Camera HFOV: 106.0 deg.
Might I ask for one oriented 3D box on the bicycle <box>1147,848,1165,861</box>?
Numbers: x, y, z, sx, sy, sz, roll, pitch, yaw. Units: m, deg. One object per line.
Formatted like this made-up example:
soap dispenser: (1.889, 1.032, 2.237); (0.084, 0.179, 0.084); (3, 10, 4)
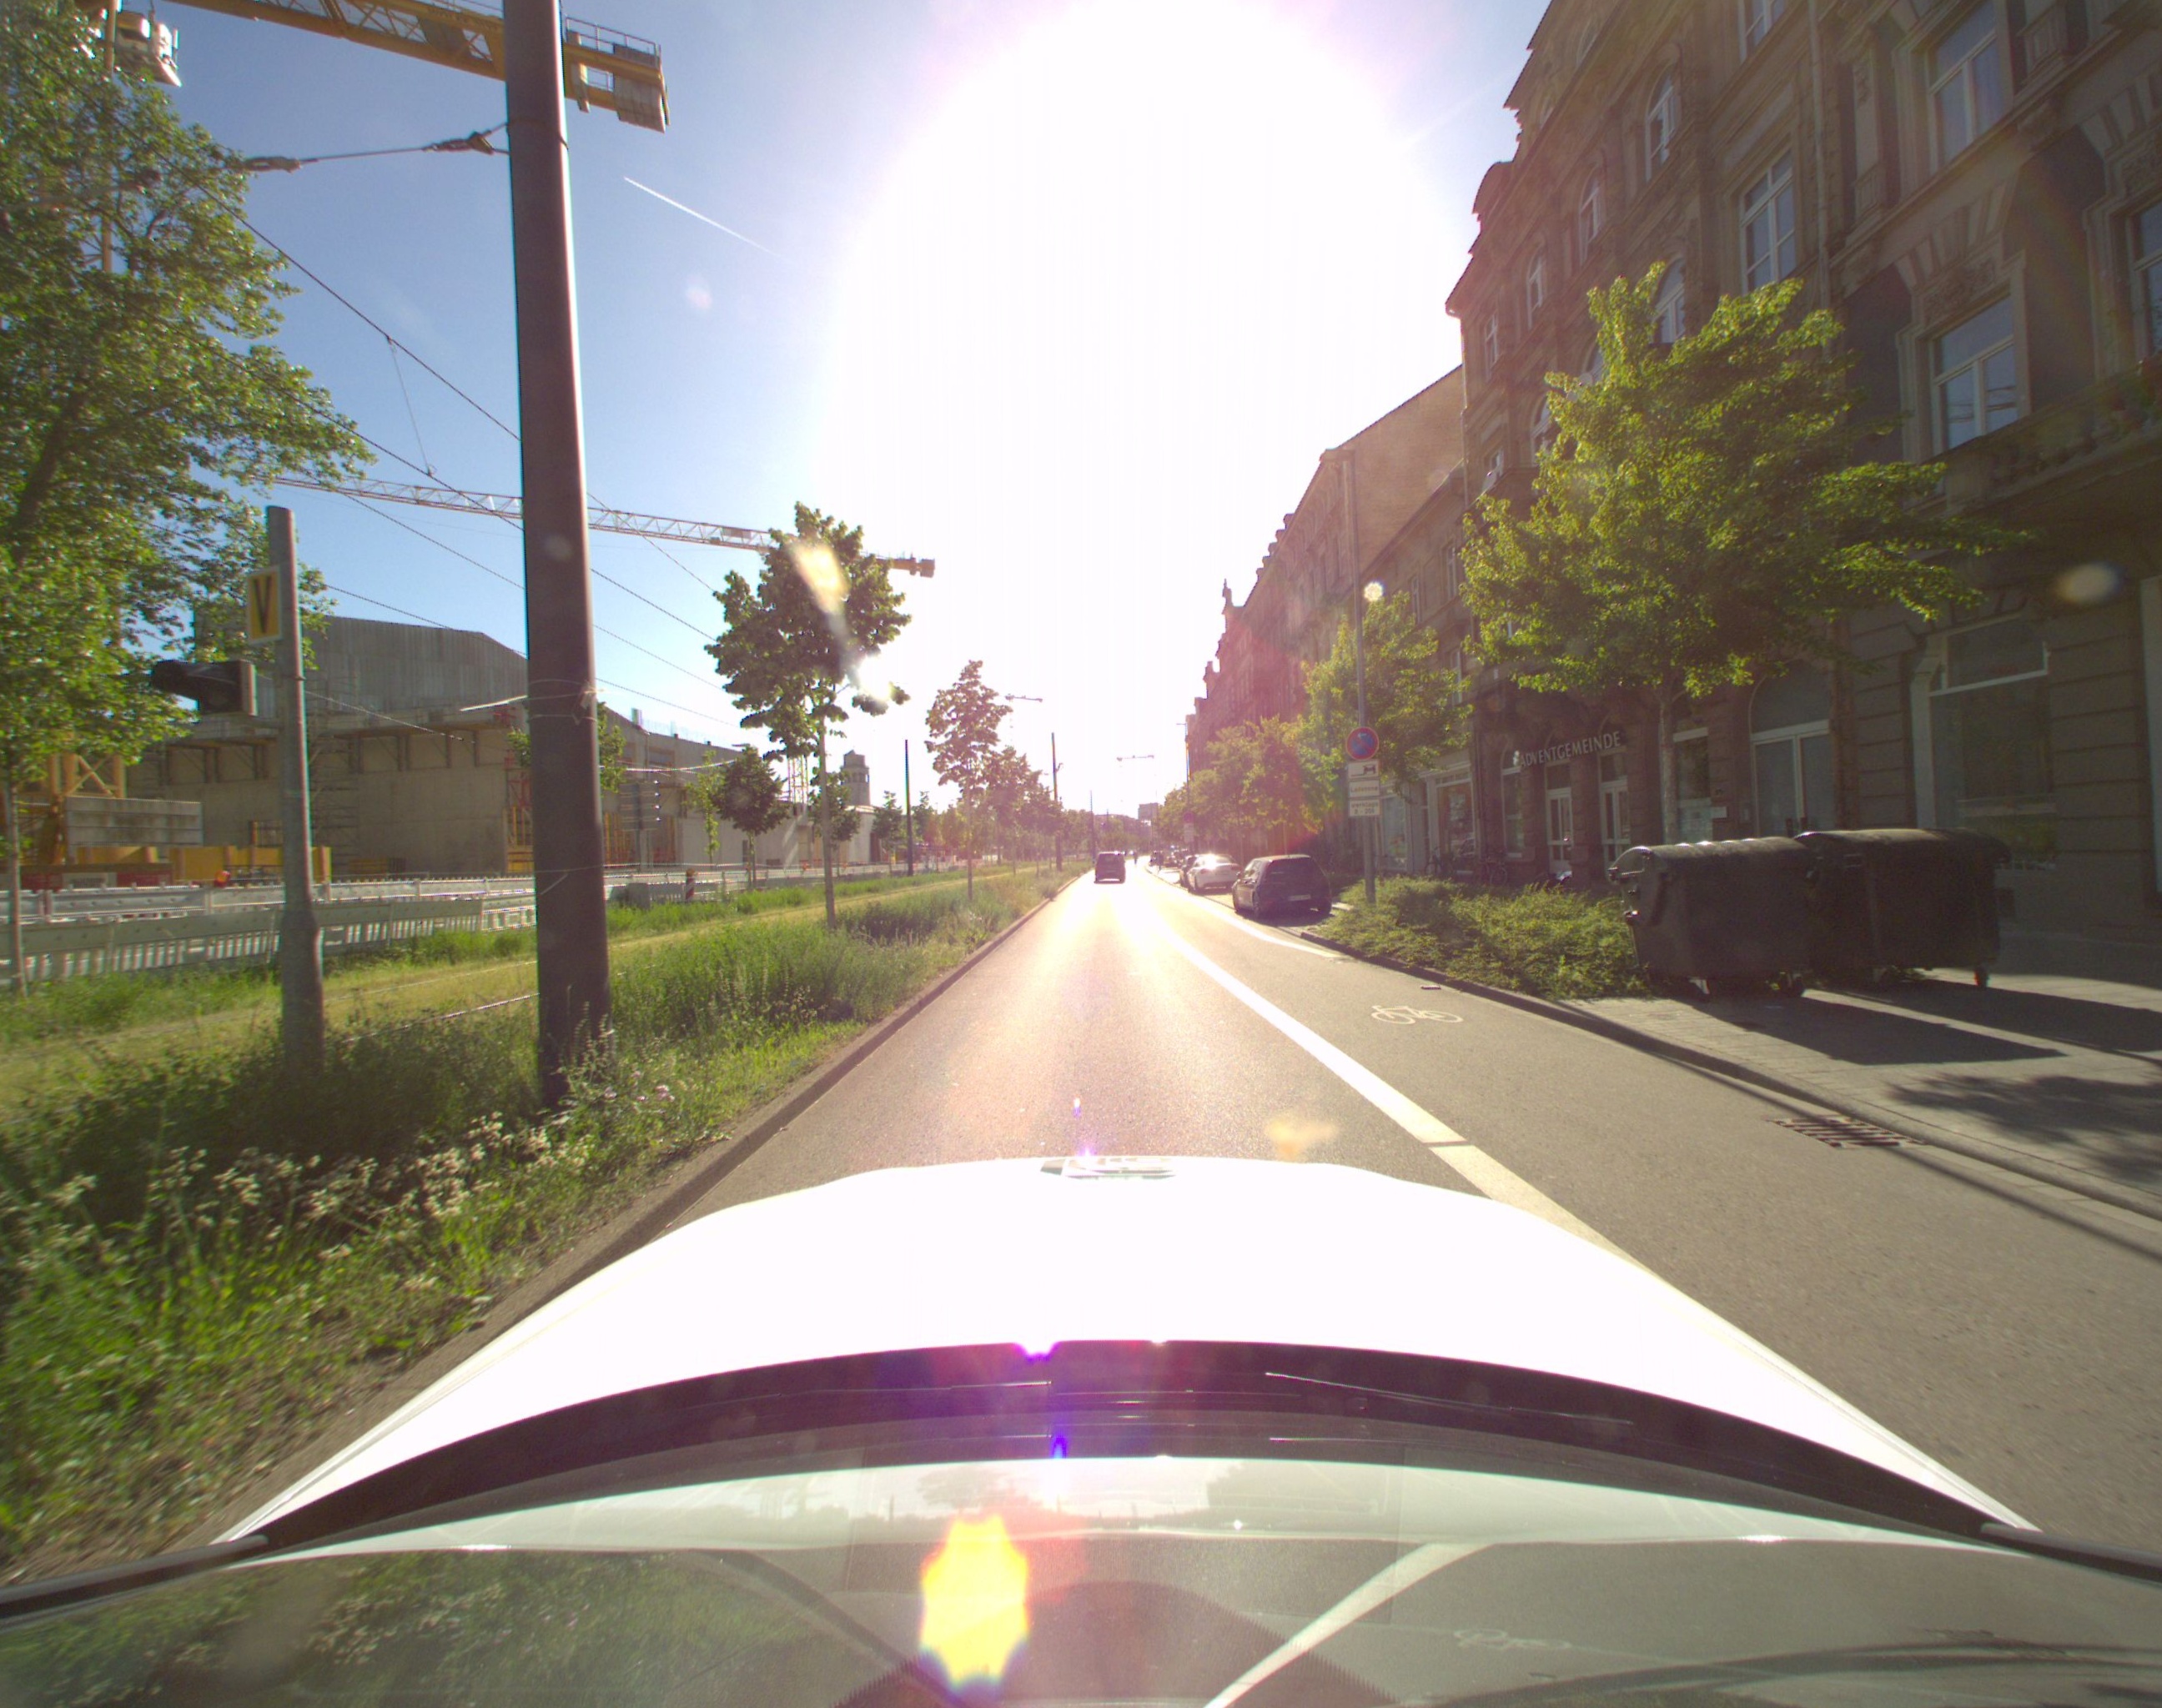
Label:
bicycle: (8.323, 0.066, 90.714); (1.875, 1.233, 0.499); (-5, 0, -4)

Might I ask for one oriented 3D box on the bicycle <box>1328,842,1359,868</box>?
bicycle: (11.895, 0.038, 37.010); (0.718, 1.090, 2.199); (-4, 0, 2)

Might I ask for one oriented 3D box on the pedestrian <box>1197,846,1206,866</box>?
pedestrian: (12.575, 0.194, 85.120); (0.814, 2.014, 1.046); (-2, -2, 2)

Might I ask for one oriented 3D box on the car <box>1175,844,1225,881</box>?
car: (5.793, 0.415, 40.103); (1.877, 1.569, 4.221); (-5, -1, 1)

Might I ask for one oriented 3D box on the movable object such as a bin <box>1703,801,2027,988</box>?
movable object such as a bin: (7.429, 0.355, 7.907); (1.368, 1.495, 1.750); (-5, -1, 3)

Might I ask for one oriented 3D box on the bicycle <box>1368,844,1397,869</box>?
bicycle: (11.982, 0.095, 32.445); (0.445, 0.945, 2.013); (-2, 0, 2)

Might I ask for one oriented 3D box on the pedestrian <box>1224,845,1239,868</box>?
pedestrian: (11.642, 0.211, 63.161); (0.992, 1.731, 0.866); (-2, -1, 1)

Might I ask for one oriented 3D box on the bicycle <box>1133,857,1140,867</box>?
bicycle: (6.708, 0.969, 98.480); (0.698, 1.091, 2.278); (-2, 0, 2)

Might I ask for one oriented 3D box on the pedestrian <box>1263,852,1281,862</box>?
pedestrian: (12.592, 0.201, 53.832); (0.770, 0.553, 2.008); (-3, 1, 2)

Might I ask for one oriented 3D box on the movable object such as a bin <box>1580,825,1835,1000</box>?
movable object such as a bin: (5.836, 0.482, 7.764); (1.264, 1.463, 1.647); (-1, 2, 6)

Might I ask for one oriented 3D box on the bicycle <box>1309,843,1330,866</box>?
bicycle: (12.092, 0.006, 41.354); (0.479, 1.090, 2.058); (-4, 0, 2)

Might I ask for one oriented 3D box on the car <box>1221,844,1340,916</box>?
car: (4.907, 0.615, 20.664); (1.760, 1.476, 4.447); (-5, -1, -1)

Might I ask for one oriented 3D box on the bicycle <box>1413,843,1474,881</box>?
bicycle: (11.480, 0.242, 25.877); (0.873, 1.104, 2.181); (-5, 0, -1)

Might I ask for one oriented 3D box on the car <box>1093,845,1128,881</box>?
car: (1.733, 0.539, 49.144); (1.986, 2.014, 4.000); (-2, 0, 1)

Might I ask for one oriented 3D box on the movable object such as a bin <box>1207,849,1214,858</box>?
movable object such as a bin: (13.600, -0.060, 85.367); (0.603, 0.916, 0.650); (-2, 0, -3)

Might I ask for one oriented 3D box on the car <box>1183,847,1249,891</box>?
car: (5.436, 0.562, 33.369); (1.944, 1.495, 5.107); (-4, 0, 2)

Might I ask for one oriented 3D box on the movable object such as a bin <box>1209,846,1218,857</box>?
movable object such as a bin: (13.392, -0.260, 82.360); (0.723, 1.097, 0.747); (-2, 0, -3)

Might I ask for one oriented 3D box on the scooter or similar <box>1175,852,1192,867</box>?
scooter or similar: (9.726, 0.530, 77.087); (1.470, 1.216, 0.601); (-5, 1, -2)

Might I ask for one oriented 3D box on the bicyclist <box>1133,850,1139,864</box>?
bicyclist: (6.685, 0.362, 98.617); (0.680, 1.584, 0.840); (-2, 0, 1)

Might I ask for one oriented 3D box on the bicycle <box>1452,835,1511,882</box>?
bicycle: (11.193, 0.124, 22.815); (0.745, 1.201, 1.801); (-4, -1, 2)

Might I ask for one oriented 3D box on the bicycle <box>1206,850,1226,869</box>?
bicycle: (8.261, 0.337, 49.925); (0.649, 1.120, 2.169); (-4, 0, -4)

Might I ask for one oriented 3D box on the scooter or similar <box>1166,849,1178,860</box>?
scooter or similar: (9.810, 0.012, 87.825); (1.214, 1.106, 0.784); (-4, 1, 4)
